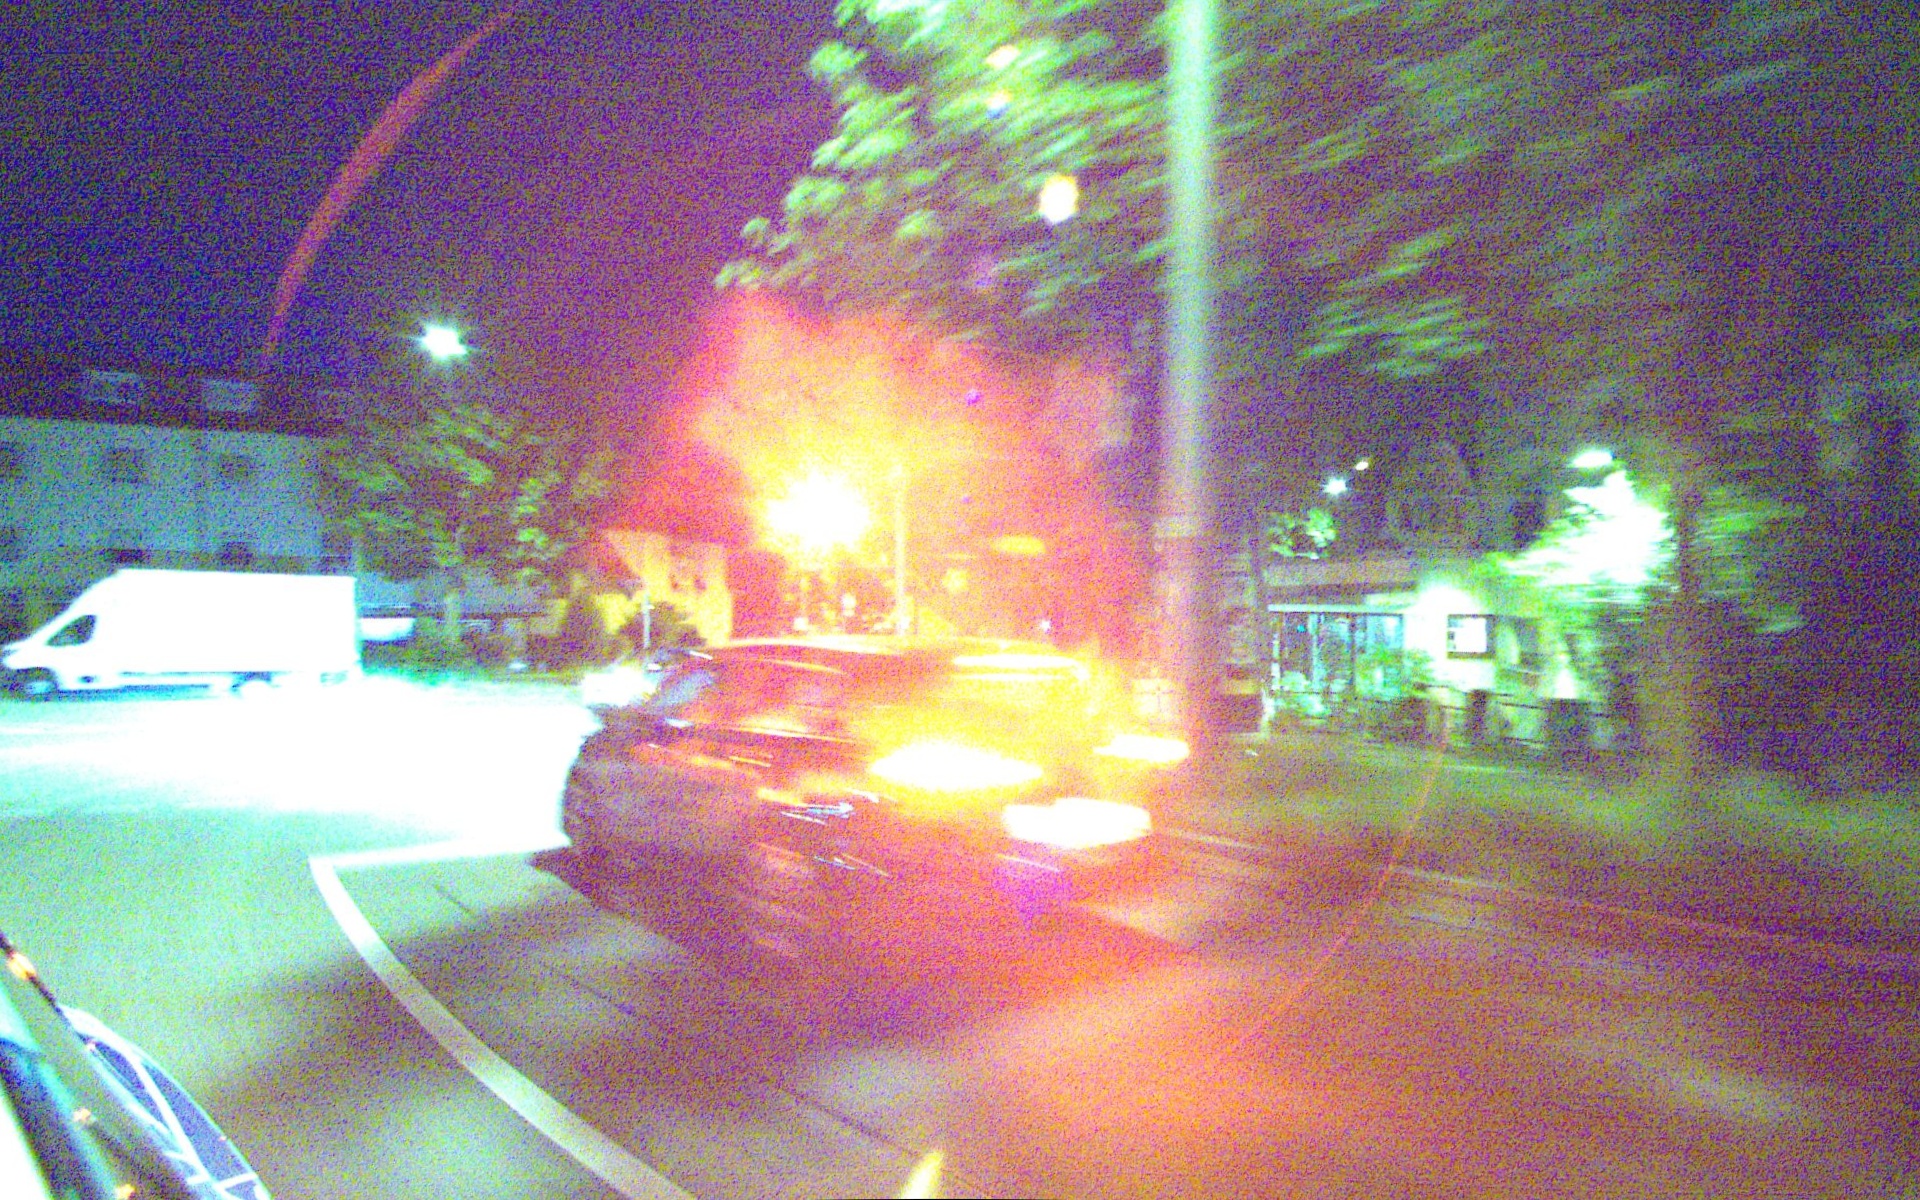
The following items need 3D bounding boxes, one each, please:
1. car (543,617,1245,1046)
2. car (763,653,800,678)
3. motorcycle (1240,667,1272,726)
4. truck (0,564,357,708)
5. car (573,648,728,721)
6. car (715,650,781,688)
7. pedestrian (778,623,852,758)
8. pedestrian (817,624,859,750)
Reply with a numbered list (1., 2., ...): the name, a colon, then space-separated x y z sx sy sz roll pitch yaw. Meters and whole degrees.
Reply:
1. car: -0.754 0.852 5.627 1.704 1.441 4.297 1 -2 -39
2. car: -10.452 3.847 59.593 1.617 1.367 3.695 1 -3 -2
3. motorcycle: 6.635 2.142 22.750 0.612 1.239 2.031 0 -4 14
4. truck: -18.636 0.879 24.370 6.916 3.067 2.781 3 -1 -32
5. car: -6.921 1.882 22.849 1.513 1.513 3.009 -3 -5 39
6. car: -9.142 2.919 43.383 2.017 1.567 4.269 1 -3 -23
7. pedestrian: -2.003 1.232 13.940 0.716 1.783 0.968 2 -5 -27
8. pedestrian: -1.811 1.277 14.969 0.515 1.806 0.694 1 -4 -13
